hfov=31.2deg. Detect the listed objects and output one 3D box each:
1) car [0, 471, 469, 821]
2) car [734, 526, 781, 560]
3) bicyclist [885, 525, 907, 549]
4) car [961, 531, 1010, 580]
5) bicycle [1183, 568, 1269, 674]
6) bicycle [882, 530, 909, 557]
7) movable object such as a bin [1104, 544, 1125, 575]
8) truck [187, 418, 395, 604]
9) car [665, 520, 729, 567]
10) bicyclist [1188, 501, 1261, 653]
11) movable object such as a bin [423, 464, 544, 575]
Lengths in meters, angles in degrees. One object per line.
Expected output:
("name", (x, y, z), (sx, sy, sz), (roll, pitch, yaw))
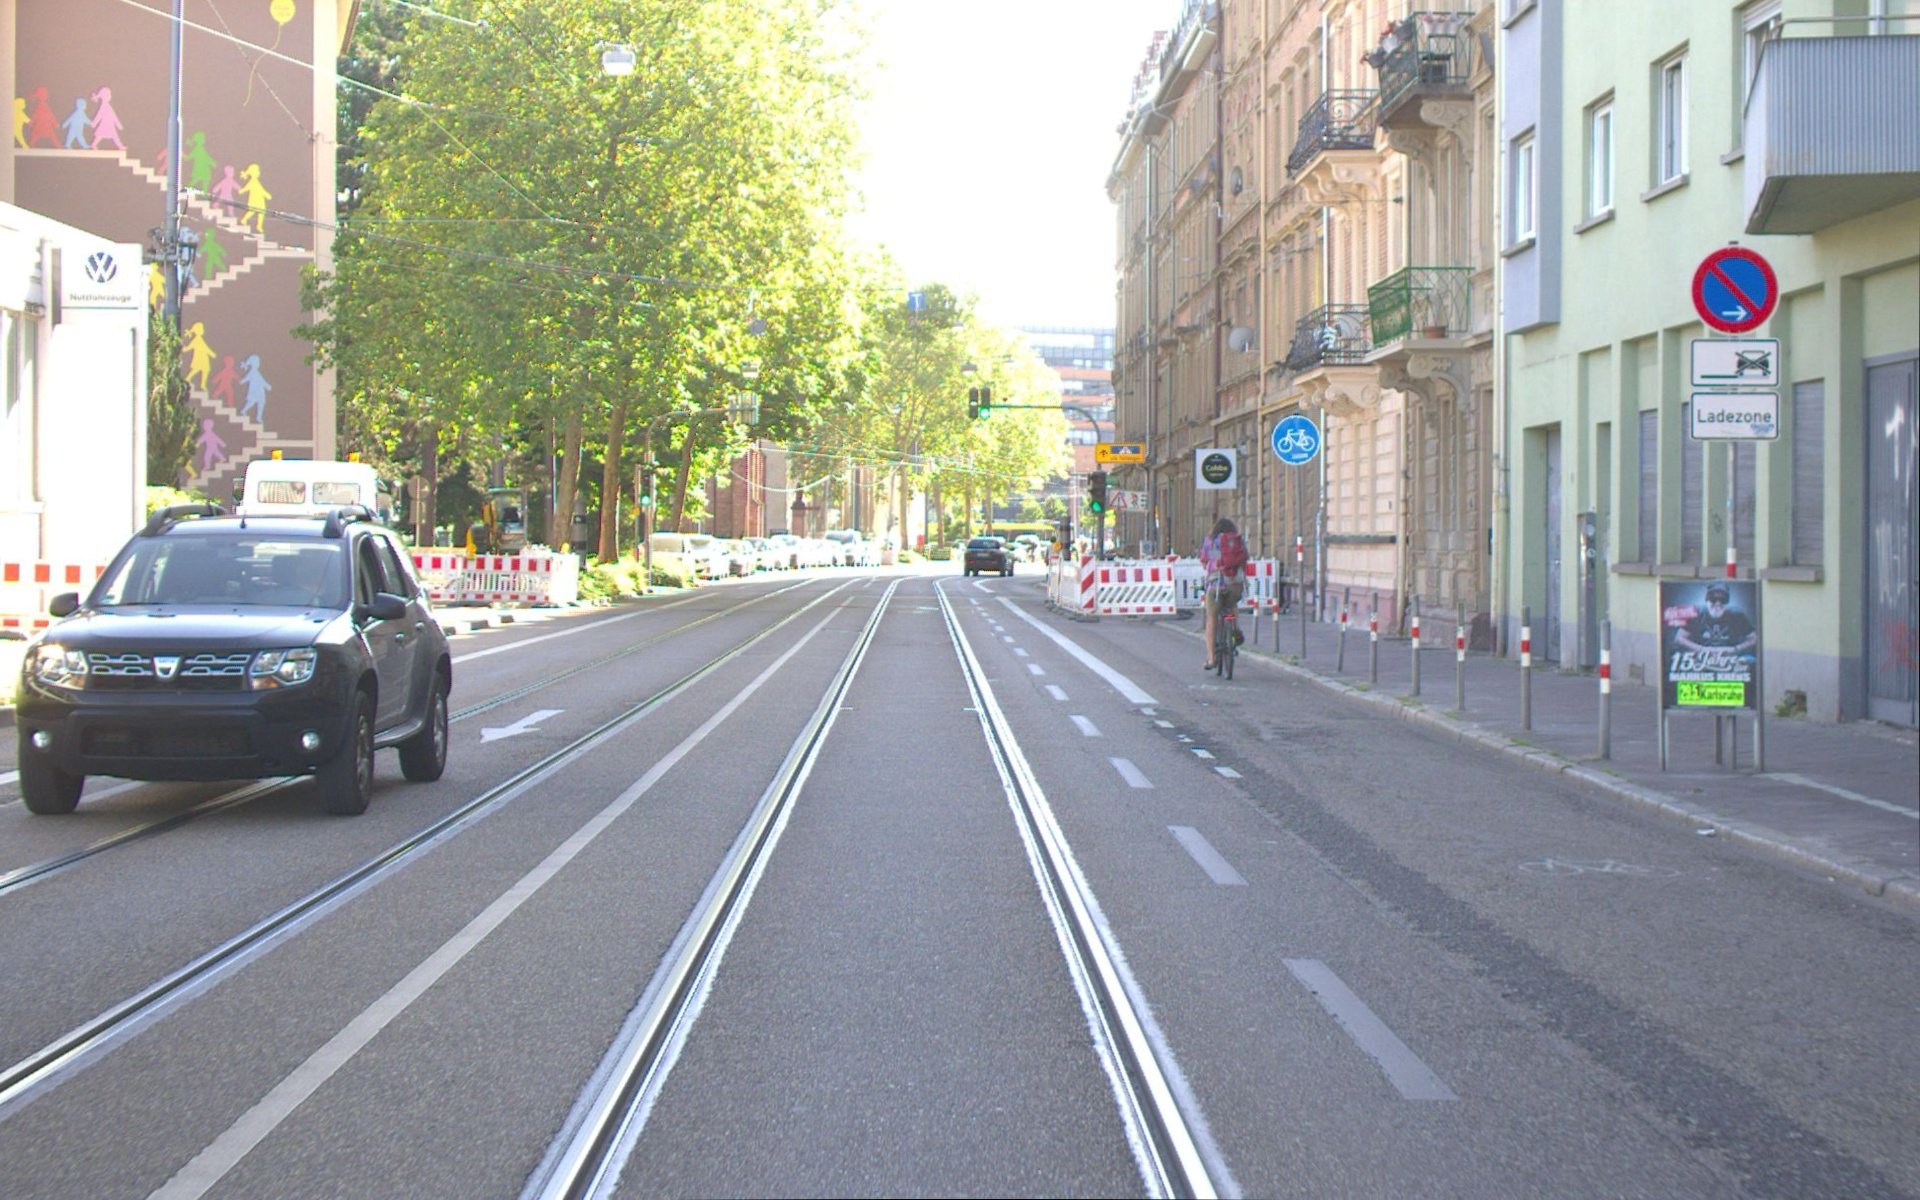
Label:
("car", (-3.994, 0.210, 19.369), (1.759, 1.691, 4.144), (2, 1, 1))
("car", (-9.487, -2.649, 161.123), (1.748, 1.490, 4.043), (2, 1, 2))
("bicyclist", (-3.945, -3.912, 212.013), (1.078, 1.423, 1.146), (3, 0, 8))
("car", (1.068, -1.893, 147.584), (1.993, 2.007, 4.000), (2, 1, 0))
("bicycle", (2.999, 0.220, 38.999), (0.681, 1.110, 2.707), (2, 1, -1))
("bicycle", (-3.989, -3.492, 212.055), (1.234, 1.567, 2.896), (3, 1, 7))
("movable object such as a bin", (5.266, -1.395, 117.394), (0.673, 1.032, 0.813), (1, 2, 0))
("truck", (-11.051, -1.446, 57.295), (2.537, 2.820, 6.377), (2, 1, -4))
("car", (-9.371, -2.004, 122.644), (1.748, 1.602, 4.043), (2, 1, 2))
("bicyclist", (3.020, -0.263, 39.278), (0.667, 1.691, 1.043), (2, 0, -1))
("movable object such as a bin", (-12.182, -2.059, 88.338), (2.495, 2.636, 5.990), (2, 1, -3))
